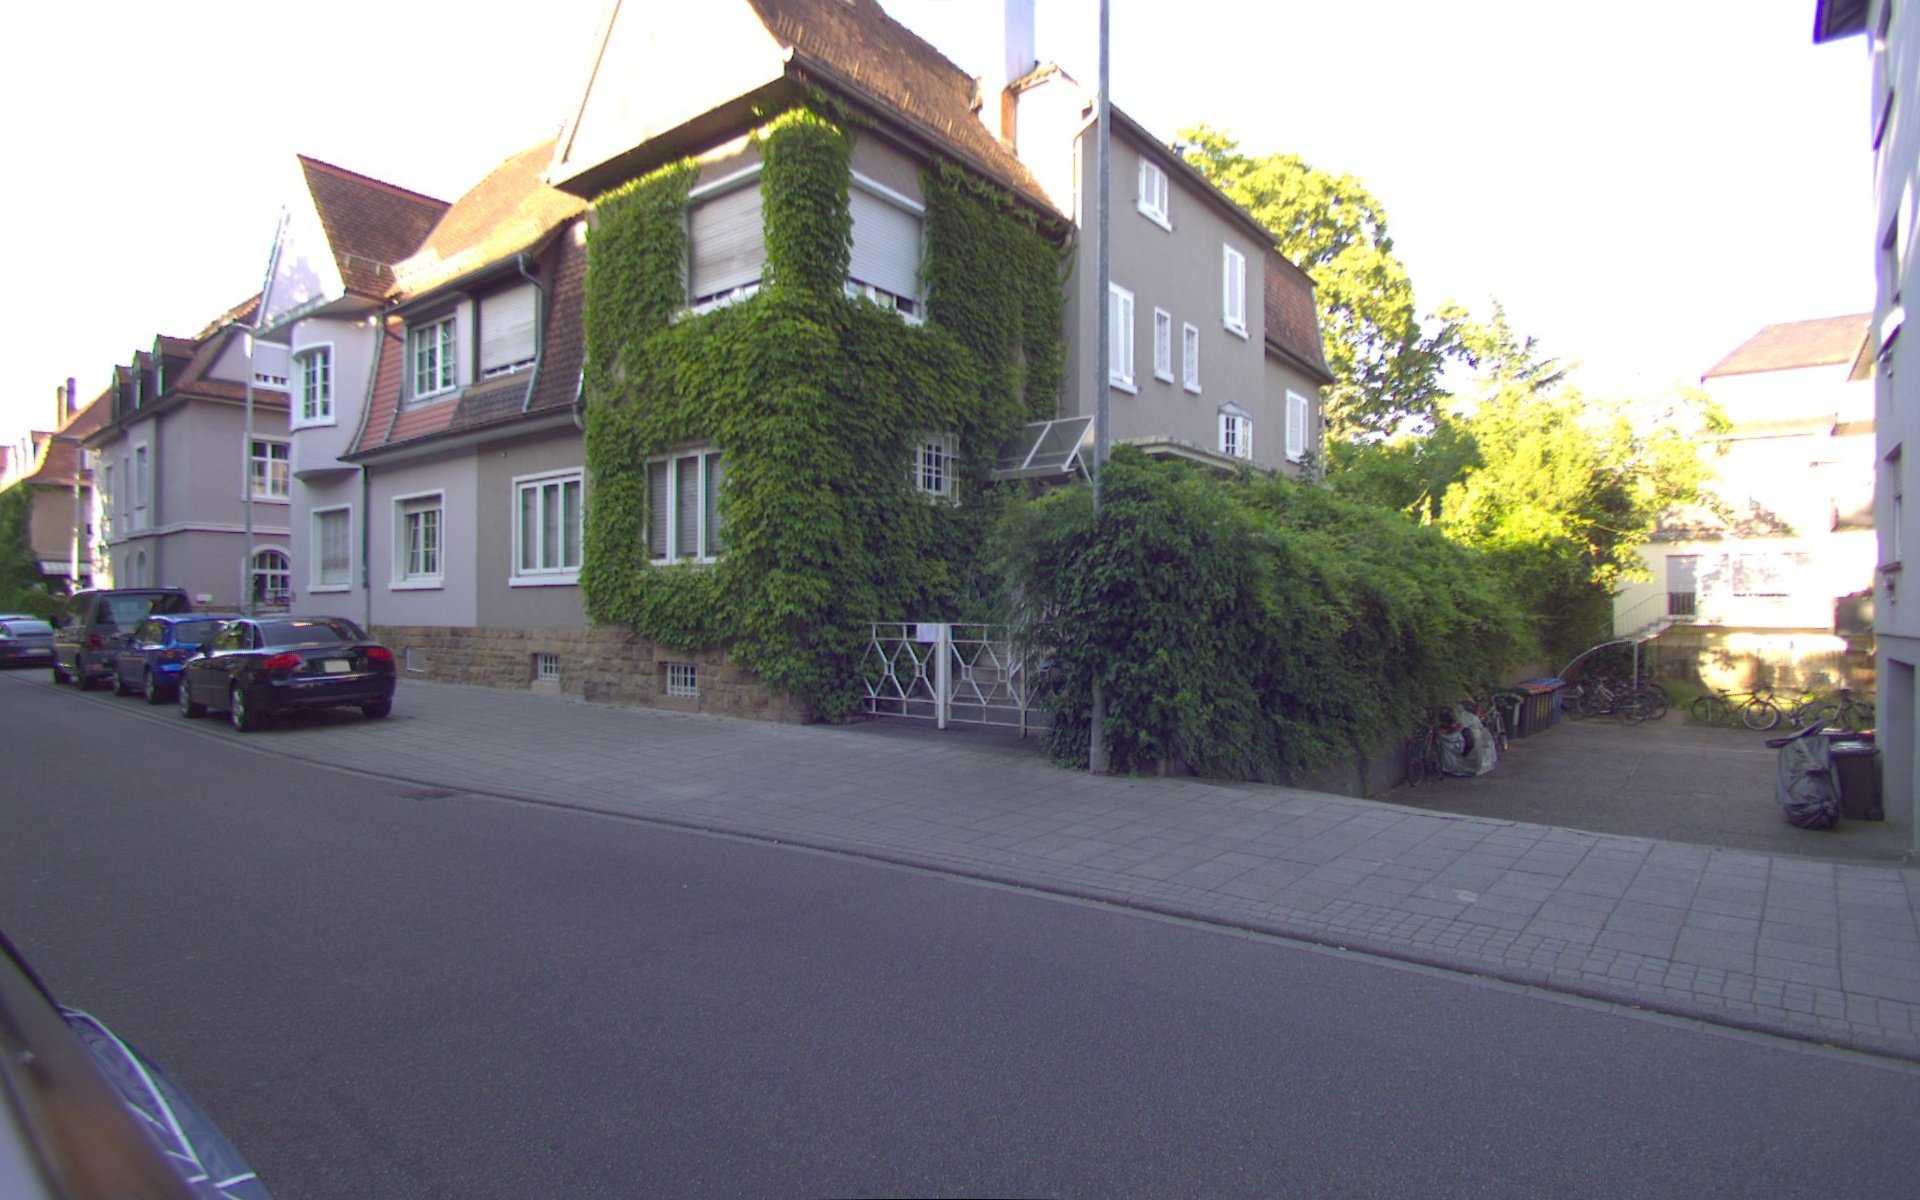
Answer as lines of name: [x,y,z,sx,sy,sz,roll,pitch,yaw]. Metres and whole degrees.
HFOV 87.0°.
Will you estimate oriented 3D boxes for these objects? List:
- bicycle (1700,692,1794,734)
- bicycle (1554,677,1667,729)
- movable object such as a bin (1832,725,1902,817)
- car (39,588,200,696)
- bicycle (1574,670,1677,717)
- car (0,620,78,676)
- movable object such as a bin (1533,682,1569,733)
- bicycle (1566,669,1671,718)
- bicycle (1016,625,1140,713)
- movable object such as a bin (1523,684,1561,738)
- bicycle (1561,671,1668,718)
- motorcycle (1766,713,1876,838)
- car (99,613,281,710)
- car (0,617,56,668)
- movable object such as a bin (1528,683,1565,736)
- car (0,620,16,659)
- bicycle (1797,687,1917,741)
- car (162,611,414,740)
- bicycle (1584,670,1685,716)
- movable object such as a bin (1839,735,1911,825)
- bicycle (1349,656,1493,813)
bicycle: [18.887,2.695,24.306,1.754,0.886,0.558,-1,-4,42]
bicycle: [16.234,2.553,25.308,2.294,1.142,0.685,-1,-4,42]
movable object such as a bin: [12.292,2.295,13.733,0.611,1.123,0.792,-1,-4,37]
car: [-17.531,0.808,21.024,4.610,1.990,1.819,-1,1,41]
bicycle: [18.610,2.589,28.340,2.338,1.186,0.685,-1,-4,42]
car: [-26.165,1.291,28.306,4.063,1.394,1.906,-1,1,44]
movable object such as a bin: [13.642,2.476,23.353,0.611,1.123,0.792,-1,-4,37]
bicycle: [18.052,2.542,27.772,2.338,1.186,0.685,-1,-4,42]
bicycle: [1.695,0.929,14.193,0.476,1.111,2.172,-1,-1,45]
movable object such as a bin: [12.695,2.406,22.080,0.611,1.123,0.792,-1,-4,37]
bicycle: [17.500,2.510,27.120,2.338,1.142,0.685,-1,-4,42]
motorcycle: [10.700,2.134,12.631,0.742,1.305,1.565,-1,-2,30]
car: [-13.643,1.000,17.853,4.060,1.457,1.745,-1,1,41]
car: [-30.179,1.324,32.039,4.061,1.478,1.907,-1,1,42]
movable object such as a bin: [13.171,2.443,22.722,0.611,1.123,0.792,-1,-4,37]
car: [-36.330,1.471,37.517,3.676,1.372,1.641,-1,1,42]
bicycle: [20.364,2.569,23.031,2.005,1.080,0.558,-1,-4,42]
car: [-9.421,0.927,14.041,4.426,1.457,1.783,-1,1,41]
bicycle: [19.194,2.635,28.835,2.338,1.186,0.685,-1,-4,42]
movable object such as a bin: [11.709,2.290,12.972,0.611,1.045,0.532,-1,-4,37]
bicycle: [6.817,1.803,14.759,0.971,1.907,4.138,-1,-3,38]
